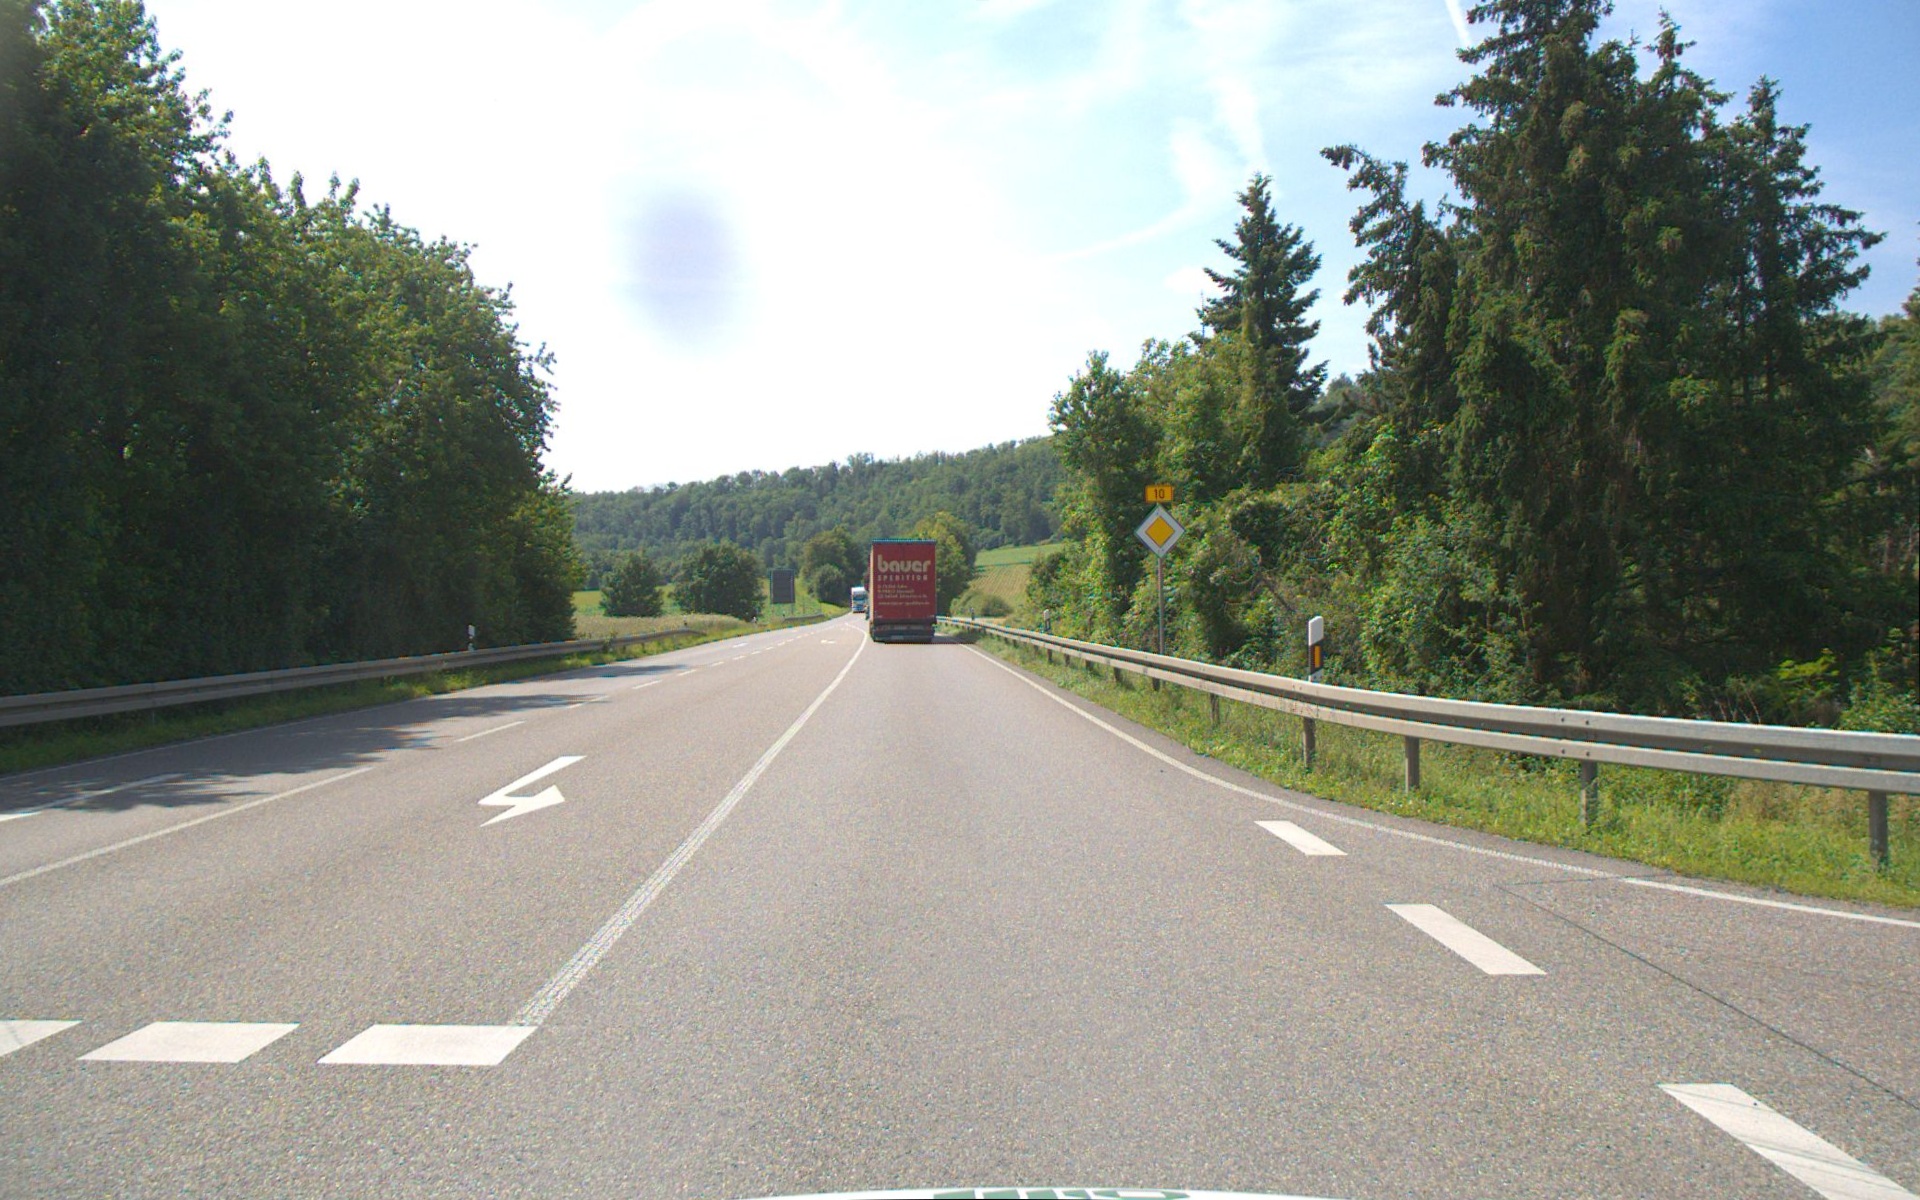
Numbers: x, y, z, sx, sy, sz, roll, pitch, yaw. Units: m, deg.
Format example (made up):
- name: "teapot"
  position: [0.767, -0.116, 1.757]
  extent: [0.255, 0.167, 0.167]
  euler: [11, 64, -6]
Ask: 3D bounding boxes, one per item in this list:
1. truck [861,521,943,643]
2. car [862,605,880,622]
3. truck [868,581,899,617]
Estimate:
- name: "truck"
  position: [-2.599, -0.701, 70.954]
  extent: [3.109, 4.706, 13.534]
  euler: [-1, 0, -3]
- name: "car"
  position: [-9.992, 1.553, 185.046]
  extent: [1.954, 1.842, 3.997]
  euler: [2, -1, -4]
- name: "truck"
  position: [-10.072, -0.032, 216.624]
  extent: [3.827, 4.446, 13.283]
  euler: [1, -1, -3]
